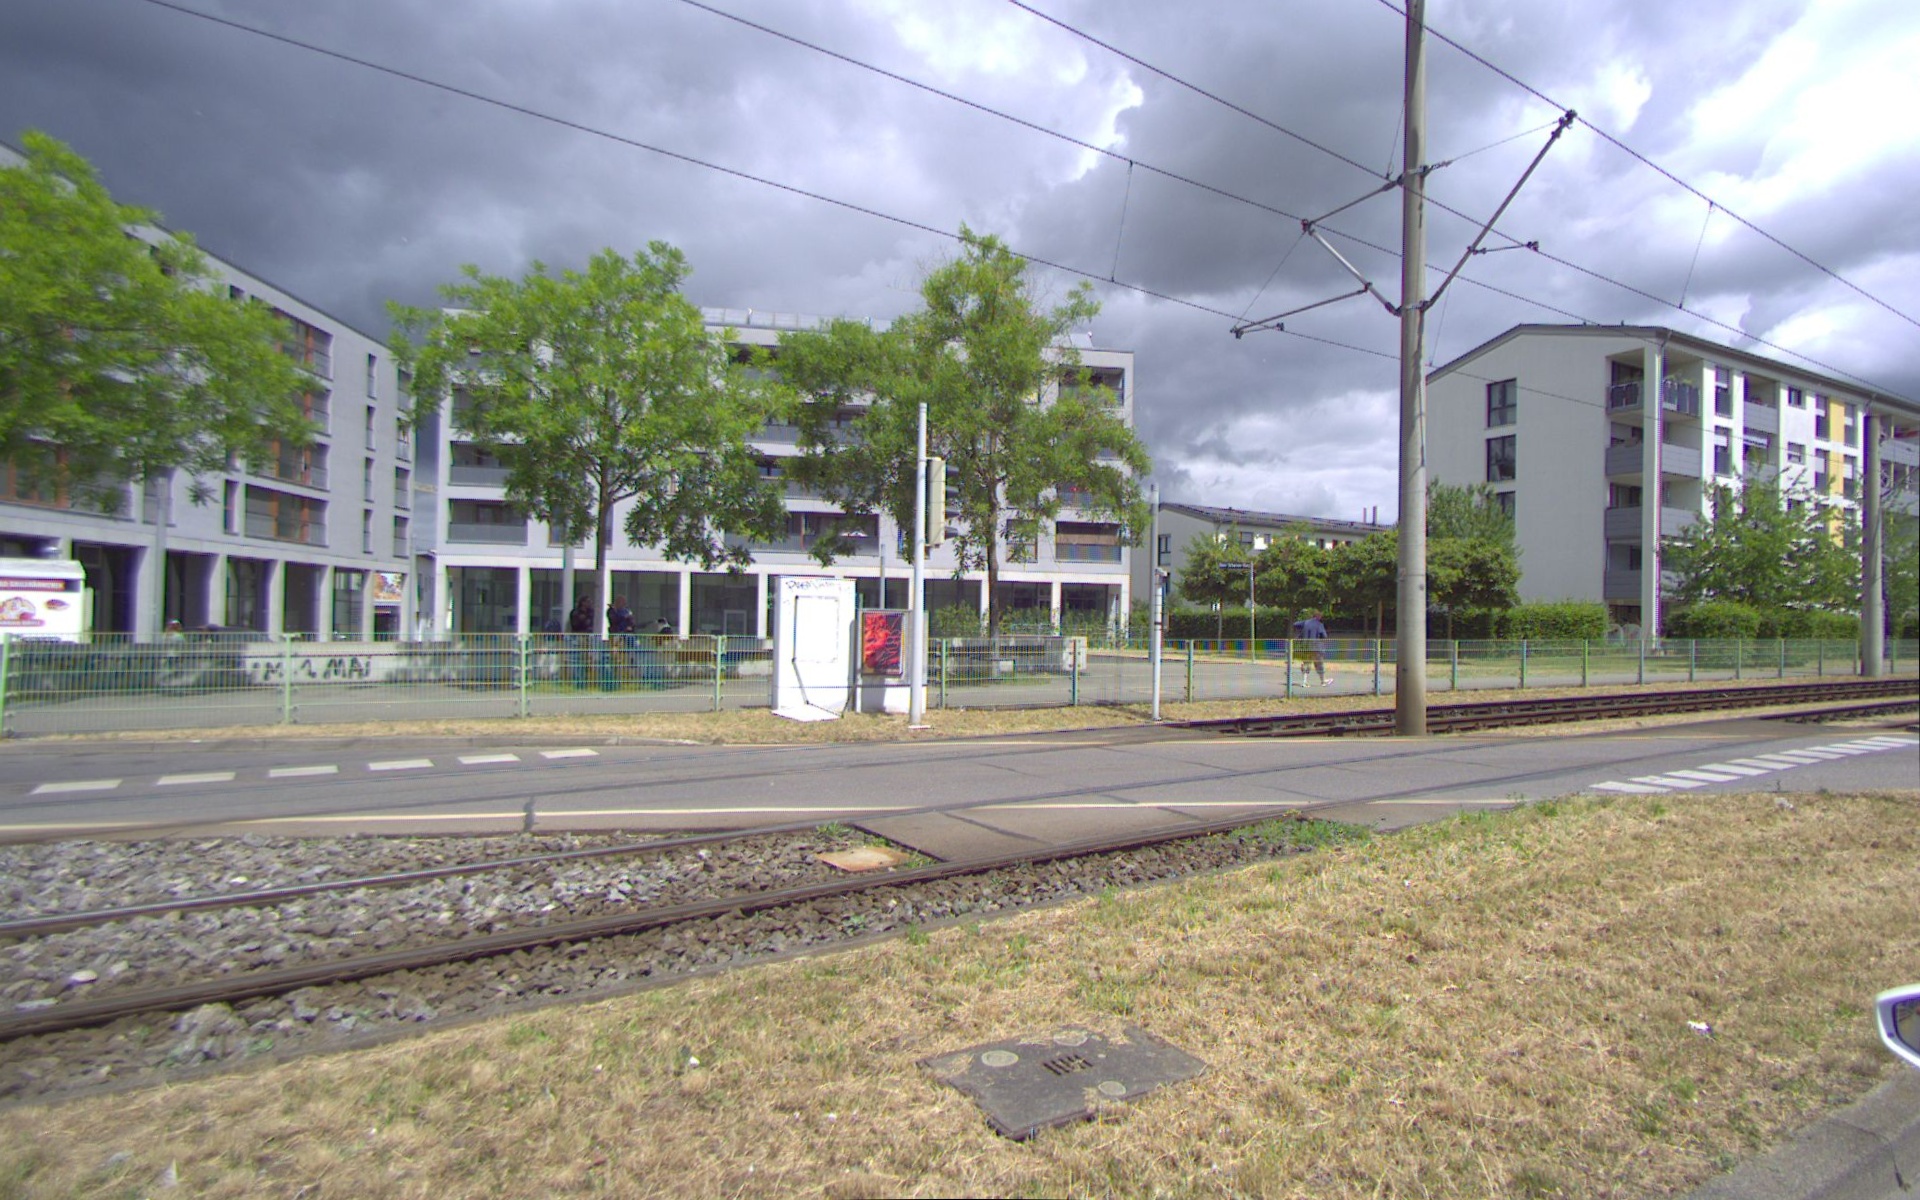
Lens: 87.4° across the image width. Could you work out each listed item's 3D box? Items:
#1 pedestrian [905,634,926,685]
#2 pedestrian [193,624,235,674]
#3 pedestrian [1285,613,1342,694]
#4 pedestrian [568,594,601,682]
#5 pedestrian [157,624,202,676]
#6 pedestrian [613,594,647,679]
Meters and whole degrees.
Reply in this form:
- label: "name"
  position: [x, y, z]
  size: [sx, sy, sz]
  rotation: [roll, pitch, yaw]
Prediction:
- label: "pedestrian"
  position: [-1.130, 1.488, 25.295]
  size: [0.449, 1.263, 0.545]
  rotation: [-1, -1, -9]
- label: "pedestrian"
  position: [-16.826, 1.097, 22.674]
  size: [0.567, 1.110, 0.500]
  rotation: [0, -1, -5]
- label: "pedestrian"
  position: [7.545, 1.124, 21.445]
  size: [0.858, 1.683, 0.747]
  rotation: [0, -2, -27]
- label: "pedestrian"
  position: [-6.988, 0.702, 18.706]
  size: [0.549, 1.594, 0.622]
  rotation: [0, -2, -19]
- label: "pedestrian"
  position: [-16.973, 1.076, 21.854]
  size: [0.567, 1.110, 0.500]
  rotation: [0, -1, -5]
- label: "pedestrian"
  position: [-6.320, 0.702, 19.226]
  size: [0.550, 1.594, 0.621]
  rotation: [0, -2, -25]
